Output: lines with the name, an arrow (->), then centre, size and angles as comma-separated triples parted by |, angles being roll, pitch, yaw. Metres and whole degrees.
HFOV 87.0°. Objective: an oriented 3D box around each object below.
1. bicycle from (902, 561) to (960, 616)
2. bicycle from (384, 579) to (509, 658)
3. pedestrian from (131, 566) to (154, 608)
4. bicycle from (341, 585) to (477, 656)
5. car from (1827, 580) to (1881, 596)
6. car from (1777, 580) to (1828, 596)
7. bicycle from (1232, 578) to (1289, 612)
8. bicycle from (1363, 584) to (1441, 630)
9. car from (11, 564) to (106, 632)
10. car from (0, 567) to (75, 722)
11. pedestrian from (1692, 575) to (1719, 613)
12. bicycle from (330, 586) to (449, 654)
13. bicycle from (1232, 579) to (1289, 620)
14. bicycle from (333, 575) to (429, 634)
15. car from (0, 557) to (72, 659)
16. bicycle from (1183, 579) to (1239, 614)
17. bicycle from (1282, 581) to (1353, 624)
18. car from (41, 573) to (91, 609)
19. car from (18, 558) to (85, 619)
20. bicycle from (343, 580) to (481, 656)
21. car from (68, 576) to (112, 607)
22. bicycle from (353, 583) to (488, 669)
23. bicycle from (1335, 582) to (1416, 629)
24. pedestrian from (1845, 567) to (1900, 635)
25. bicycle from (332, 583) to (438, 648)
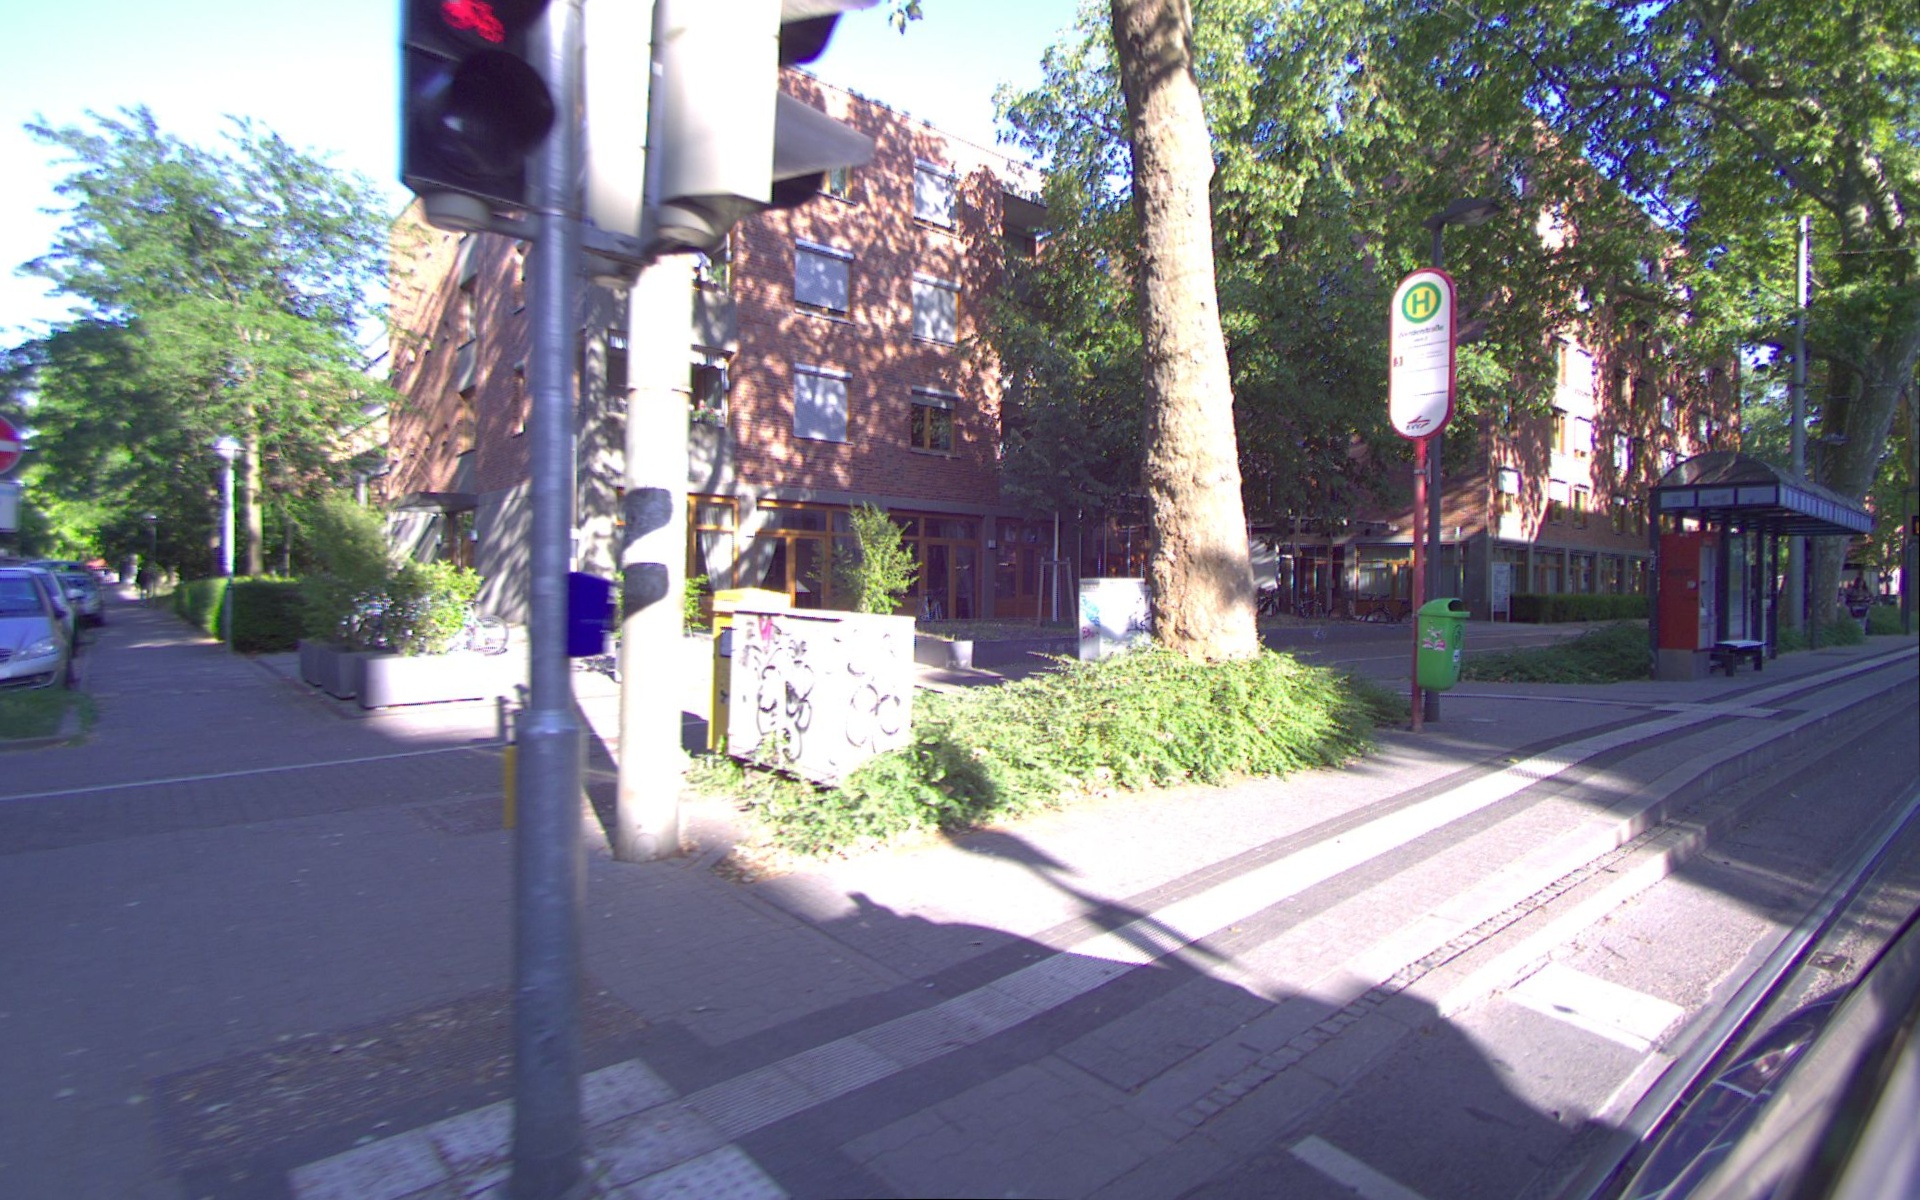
bicycle -> -0.680, -0.285, 22.851 | 0.560, 1.171, 1.939 | 0, 3, -25
bicycle -> -8.117, 0.257, 16.043 | 0.600, 1.171, 1.671 | 3, 3, 44
pedestrian -> -32.230, -0.516, 39.903 | 0.643, 1.605, 0.772 | 0, 1, -36
bicycle -> -9.763, 0.336, 17.985 | 2.015, 1.171, 0.732 | -1, 3, -41
car -> 86.626, -1.183, 98.062 | 1.964, 1.549, 3.674 | -1, 2, -40
car -> 84.127, -1.182, 101.062 | 1.964, 1.549, 3.674 | -1, 2, -40
bicycle -> 11.026, -0.183, 37.170 | 1.929, 1.171, 0.727 | 2, 2, 24
bicycle -> 12.322, 0.175, 28.297 | 0.561, 1.171, 2.040 | 0, 3, -30
car -> -24.417, -0.105, 27.503 | 1.833, 1.714, 3.869 | 0, 2, -41
car -> -12.162, 0.452, 12.486 | 1.833, 1.714, 3.869 | 0, 2, -41
pedestrian -> 32.805, -0.276, 44.541 | 0.901, 1.680, 0.768 | 0, 1, -41
bicycle -> -10.472, 0.337, 18.625 | 1.819, 1.171, 0.662 | -1, 3, -42
bicycle -> 9.403, -0.029, 31.712 | 0.561, 1.171, 1.684 | 0, 3, -35
bicycle -> -12.048, 0.073, 21.105 | 0.519, 1.171, 1.674 | 3, 3, 38
car -> -17.444, 0.085, 18.450 | 1.833, 1.714, 3.869 | 0, 2, -41
bicycle -> 8.797, -0.146, 35.454 | 1.997, 1.171, 0.709 | 0, 2, -32
bicycle -> 10.639, 0.049, 30.181 | 0.561, 1.171, 2.038 | 0, 3, -35
car -> -45.076, -0.498, 51.087 | 1.833, 1.714, 3.869 | 0, 2, -41
car -> -35.426, -0.487, 39.539 | 1.833, 2.260, 3.869 | 0, 1, -41
bicycle -> -9.097, 0.270, 16.843 | 1.946, 1.171, 0.638 | -1, 3, -39
car -> -49.256, -0.505, 57.328 | 1.833, 1.714, 3.869 | 0, 2, -41
bicycle -> -7.869, 0.343, 14.795 | 1.667, 1.171, 0.601 | -1, 3, -38
bicycle -> 11.463, 0.136, 27.976 | 0.562, 1.171, 2.036 | 0, 3, -40
pedestrian -> 23.122, 0.014, 25.655 | 0.760, 1.680, 0.910 | 1, 1, 24
bicycle -> -10.964, 0.269, 19.328 | 1.669, 1.171, 0.662 | -1, 3, -42
